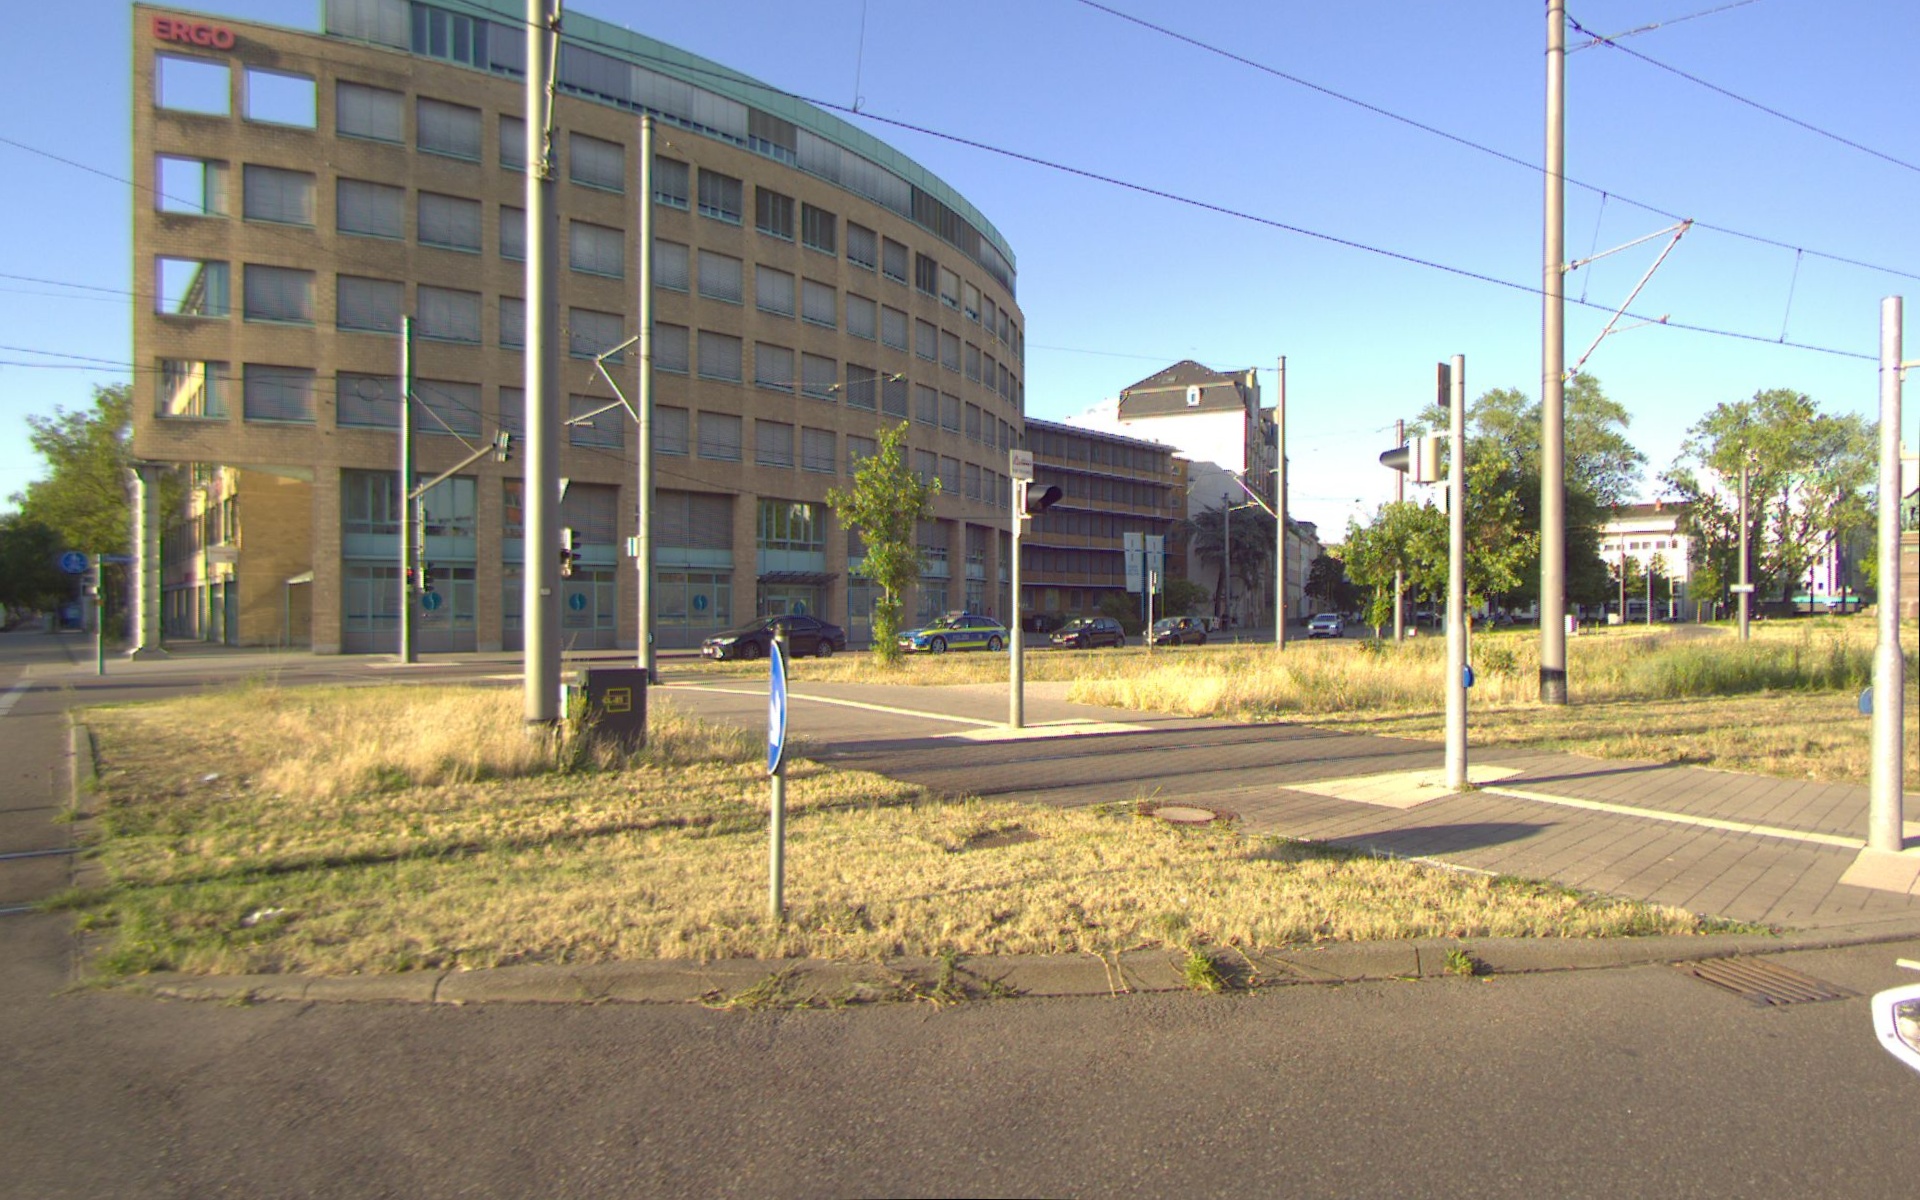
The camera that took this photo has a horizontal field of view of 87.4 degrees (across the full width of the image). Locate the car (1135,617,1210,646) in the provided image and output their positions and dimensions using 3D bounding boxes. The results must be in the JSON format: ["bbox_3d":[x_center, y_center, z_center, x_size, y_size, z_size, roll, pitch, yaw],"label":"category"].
[{"bbox_3d":[10.043,1.459,47.324,3.713,1.298,1.630,0,0,-43],"label":"car"}]

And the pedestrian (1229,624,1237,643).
[{"bbox_3d":[20.796,2.576,76.536,0.482,1.449,0.409,0,0,-43],"label":"pedestrian"}]

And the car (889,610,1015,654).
[{"bbox_3d":[-0.234,1.143,37.233,4.750,1.500,1.870,1,-1,-45],"label":"car"}]

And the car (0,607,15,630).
[{"bbox_3d":[-84.953,1.607,88.664,2.217,2.040,4.542,0,0,-43],"label":"car"}]

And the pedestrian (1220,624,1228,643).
[{"bbox_3d":[20.252,2.561,77.050,0.482,1.449,0.409,0,0,-43],"label":"pedestrian"}]

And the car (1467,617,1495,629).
[{"bbox_3d":[55.539,2.469,107.042,3.703,1.275,1.551,0,-2,-44],"label":"car"}]

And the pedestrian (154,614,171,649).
[{"bbox_3d":[-36.427,1.440,45.902,0.575,1.576,0.738,0,0,-36],"label":"pedestrian"}]

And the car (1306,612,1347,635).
[{"bbox_3d":[25.013,1.548,68.464,1.745,1.502,4.299,0,0,32],"label":"car"}]

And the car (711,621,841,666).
[{"bbox_3d":[-5.807,1.343,31.935,3.762,1.299,1.708,1,-1,-43],"label":"car"}]

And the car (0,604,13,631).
[{"bbox_3d":[-84.682,1.510,88.263,1.985,2.375,3.951,0,0,-42],"label":"car"}]

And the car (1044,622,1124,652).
[{"bbox_3d":[5.276,1.535,42.624,3.575,1.169,1.505,1,0,-45],"label":"car"}]
